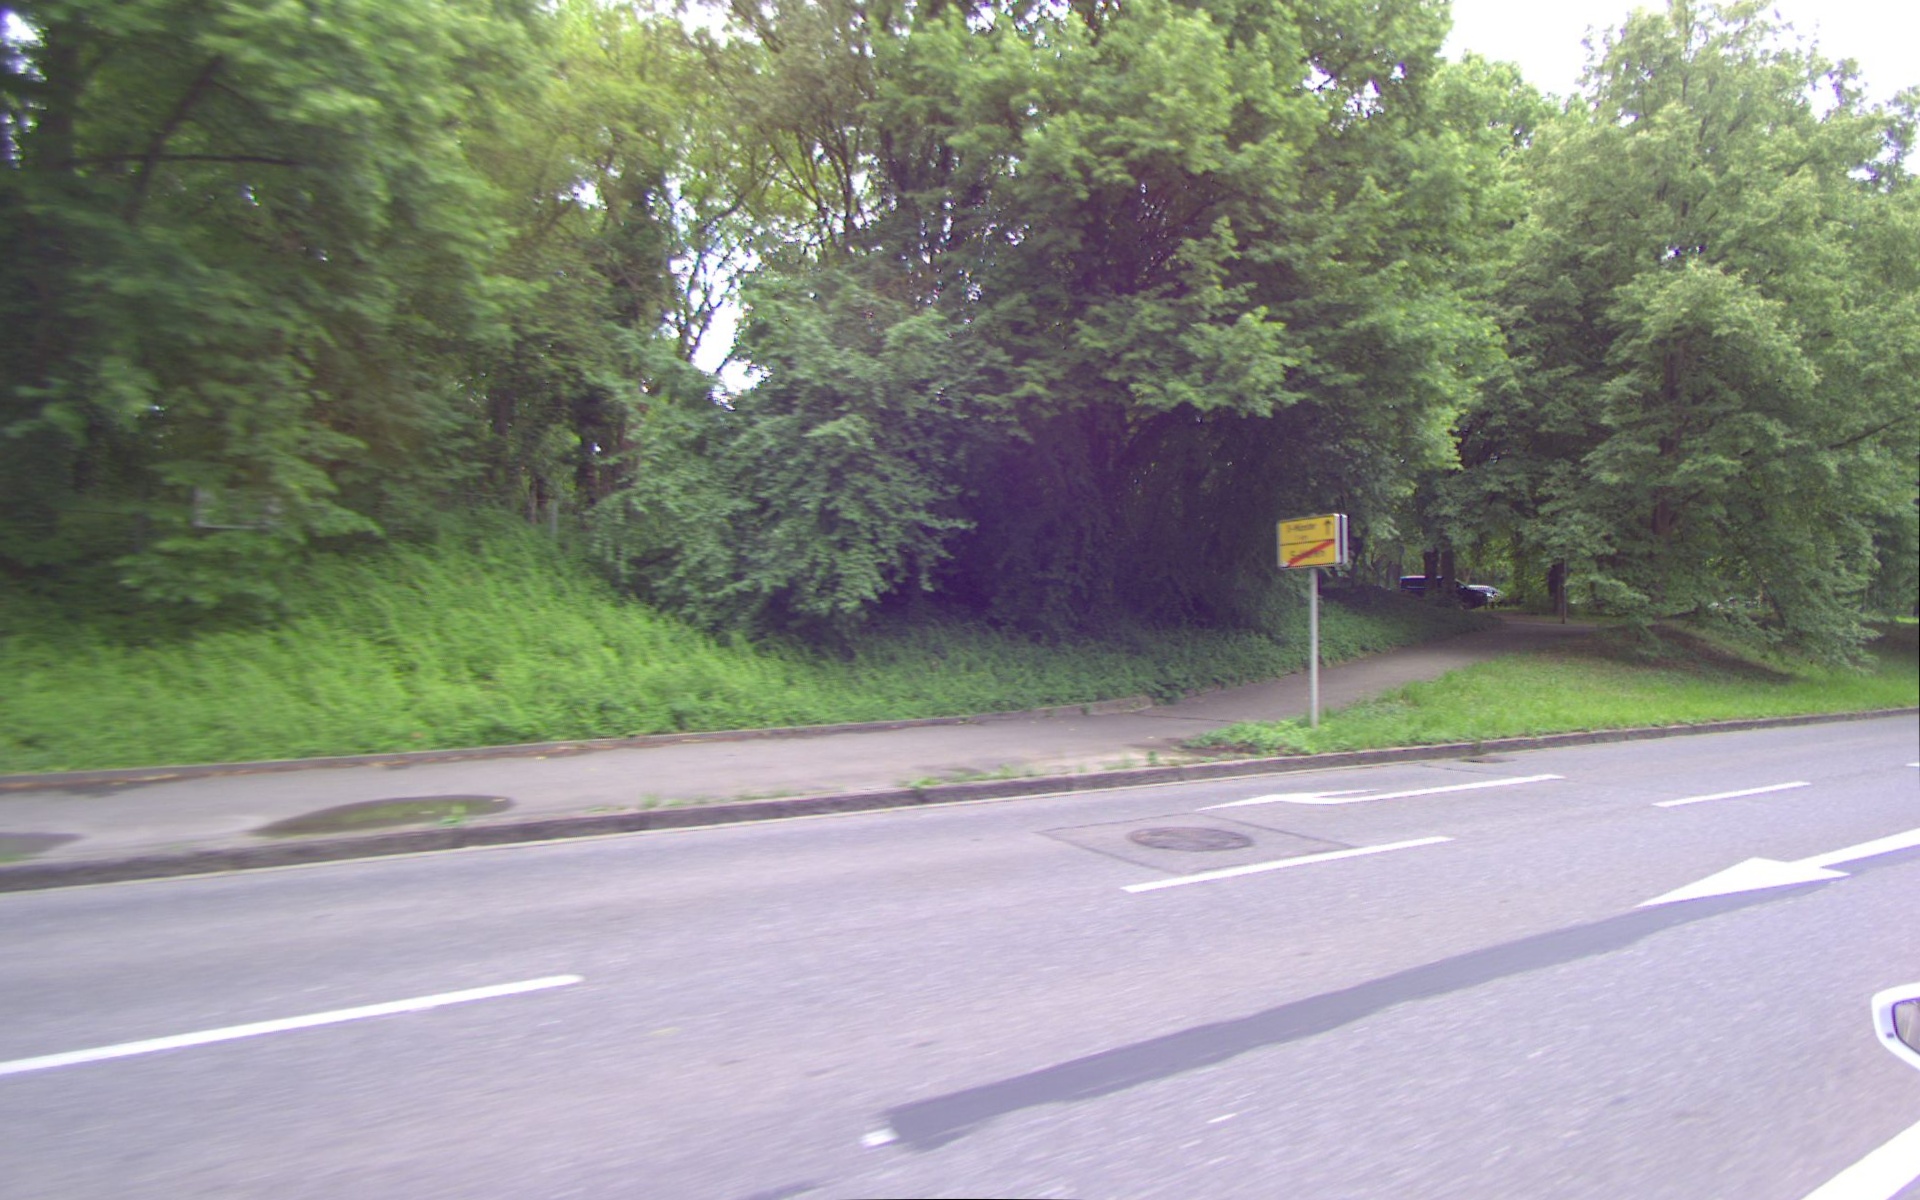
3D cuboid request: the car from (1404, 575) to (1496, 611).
[{"bbox_3d":[29.172,-0.416,59.939,4.750,2.058,1.563,1,0,21],"label":"car"}]
